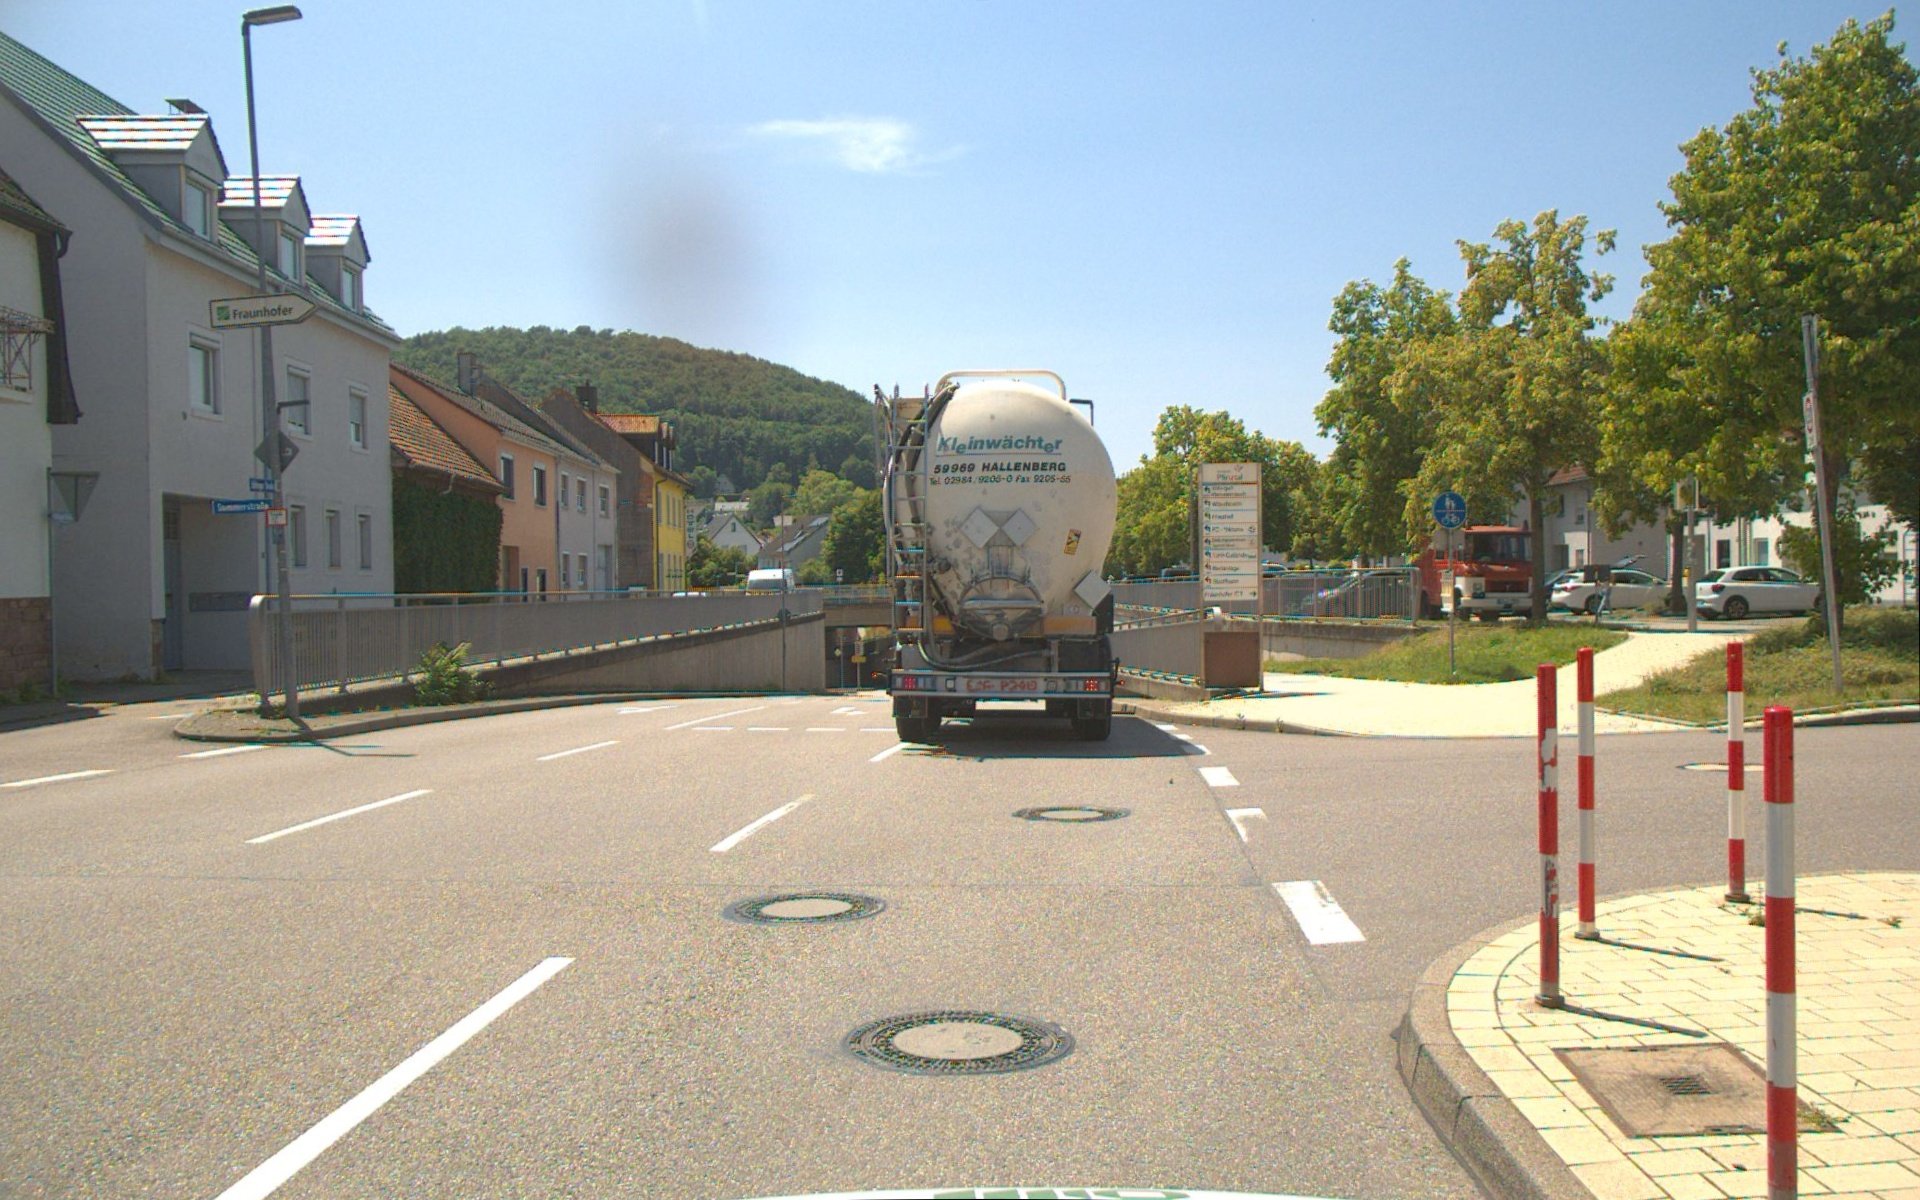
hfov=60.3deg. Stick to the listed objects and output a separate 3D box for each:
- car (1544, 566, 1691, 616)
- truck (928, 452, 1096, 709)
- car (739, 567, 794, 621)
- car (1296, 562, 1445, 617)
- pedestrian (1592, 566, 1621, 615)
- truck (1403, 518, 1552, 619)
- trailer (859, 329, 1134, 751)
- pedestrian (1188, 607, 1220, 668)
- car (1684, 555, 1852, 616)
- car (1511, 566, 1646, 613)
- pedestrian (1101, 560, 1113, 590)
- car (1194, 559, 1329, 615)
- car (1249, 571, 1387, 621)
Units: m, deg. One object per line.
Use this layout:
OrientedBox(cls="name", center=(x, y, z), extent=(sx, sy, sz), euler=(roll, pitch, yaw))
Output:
OrientedBox(cls="car", center=(22.640, -0.306, 57.046), extent=(4.315, 1.516, 1.758), euler=(-3, 0, 0))
OrientedBox(cls="truck", center=(1.002, -0.228, 29.997), extent=(2.678, 4.136, 6.530), euler=(-1, -2, 3))
OrientedBox(cls="car", center=(-9.649, -0.275, 82.982), extent=(2.023, 2.581, 5.661), euler=(1, 0, 0))
OrientedBox(cls="car", center=(11.908, -0.309, 48.137), extent=(3.904, 1.525, 1.749), euler=(-1, 0, 1))
OrientedBox(cls="pedestrian", center=(20.946, -0.313, 53.560), extent=(0.603, 1.537, 0.737), euler=(-3, 0, 40))
OrientedBox(cls="truck", center=(13.008, -0.751, 41.961), extent=(2.088, 2.375, 5.259), euler=(-1, 0, 0))
OrientedBox(cls="trailer", center=(0.680, -0.409, 22.962), extent=(2.678, 4.136, 13.315), euler=(-1, -2, 3))
OrientedBox(cls="pedestrian", center=(7.299, 1.126, 49.534), extent=(0.819, 1.813, 0.788), euler=(-1, -2, 0))
OrientedBox(cls="car", center=(22.794, -0.402, 46.765), extent=(3.856, 1.504, 1.758), euler=(-3, 0, 0))
OrientedBox(cls="car", center=(22.972, -0.391, 61.504), extent=(4.315, 1.516, 1.758), euler=(-3, 0, 0))
OrientedBox(cls="pedestrian", center=(8.947, -1.503, 100.708), extent=(0.659, 1.811, 0.594), euler=(-1, -1, 2))
OrientedBox(cls="car", center=(11.906, -0.511, 65.530), extent=(5.006, 2.099, 1.989), euler=(-1, 0, 1))
OrientedBox(cls="car", center=(11.517, -0.131, 53.409), extent=(4.117, 1.525, 1.686), euler=(-1, 0, 1))
